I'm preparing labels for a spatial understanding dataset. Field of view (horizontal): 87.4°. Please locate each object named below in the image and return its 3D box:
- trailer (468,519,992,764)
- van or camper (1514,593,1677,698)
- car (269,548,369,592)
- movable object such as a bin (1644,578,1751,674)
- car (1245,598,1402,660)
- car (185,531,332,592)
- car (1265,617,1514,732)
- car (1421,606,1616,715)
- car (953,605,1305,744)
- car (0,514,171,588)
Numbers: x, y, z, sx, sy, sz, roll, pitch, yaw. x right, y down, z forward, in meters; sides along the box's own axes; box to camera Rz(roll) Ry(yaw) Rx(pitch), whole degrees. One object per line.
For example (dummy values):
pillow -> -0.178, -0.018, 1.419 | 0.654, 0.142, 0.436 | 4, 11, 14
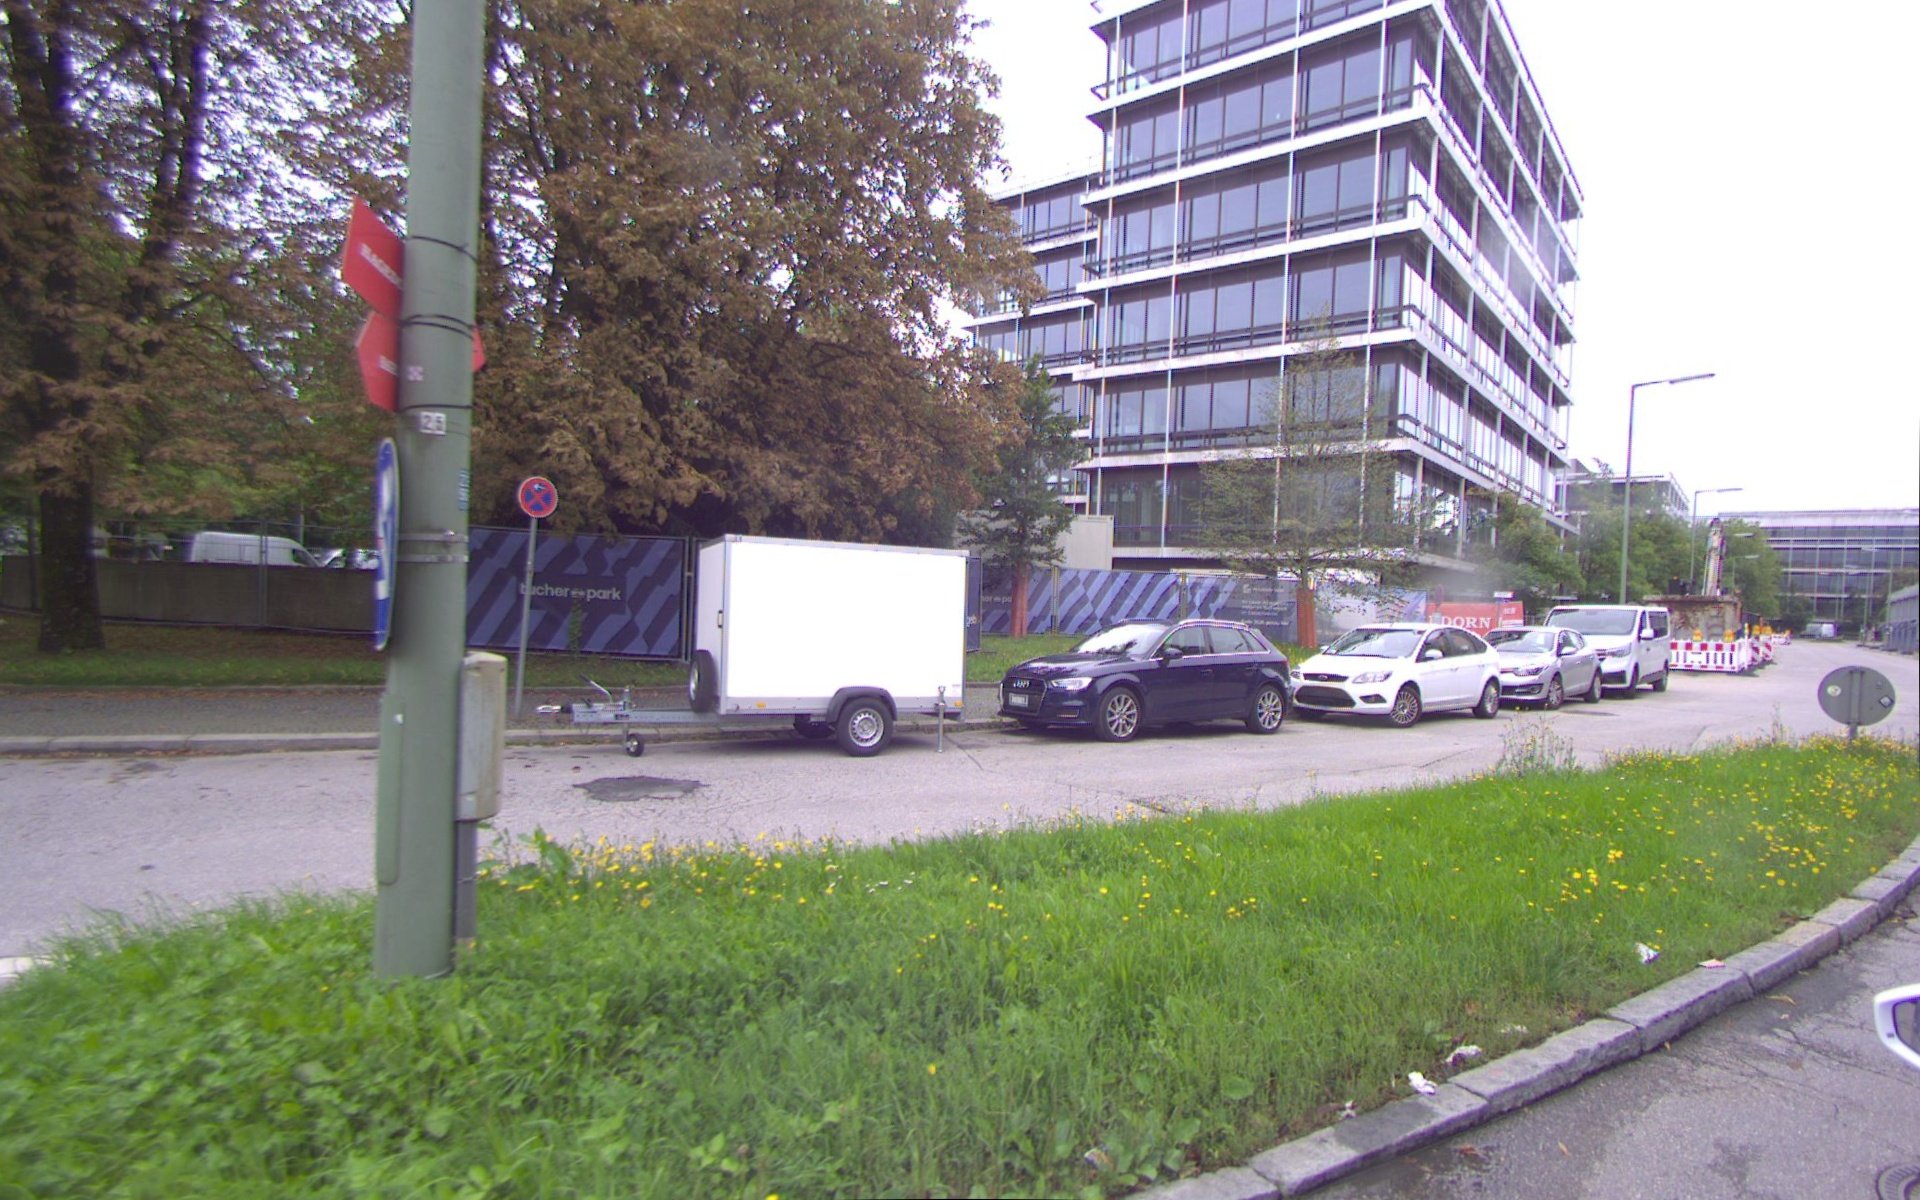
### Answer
trailer -> -2.234, 0.392, 10.157 | 4.765, 2.040, 1.804 | 2, 1, -23
van or camper -> 14.414, 0.950, 22.644 | 1.973, 2.040, 5.343 | 2, 1, 45
car -> -41.923, -1.910, 65.798 | 2.044, 2.615, 5.115 | 3, 0, 38
movable object such as a bin -> 32.914, 1.088, 44.640 | 3.202, 3.766, 8.965 | 2, 1, 40
car -> 12.577, 0.952, 34.942 | 4.706, 1.947, 1.990 | 1, 0, 41
car -> -33.709, -1.793, 48.428 | 2.044, 2.615, 5.436 | 3, 0, 38
car -> 6.782, 1.082, 15.689 | 4.183, 1.506, 1.753 | 2, 1, -38
car -> 10.609, 1.053, 18.942 | 4.419, 1.751, 1.974 | 1, 1, -44
car -> 2.218, 0.872, 12.719 | 4.283, 1.456, 1.860 | 2, 0, -34
car -> -37.516, -2.012, 42.948 | 2.044, 2.770, 5.575 | 3, 0, 38
